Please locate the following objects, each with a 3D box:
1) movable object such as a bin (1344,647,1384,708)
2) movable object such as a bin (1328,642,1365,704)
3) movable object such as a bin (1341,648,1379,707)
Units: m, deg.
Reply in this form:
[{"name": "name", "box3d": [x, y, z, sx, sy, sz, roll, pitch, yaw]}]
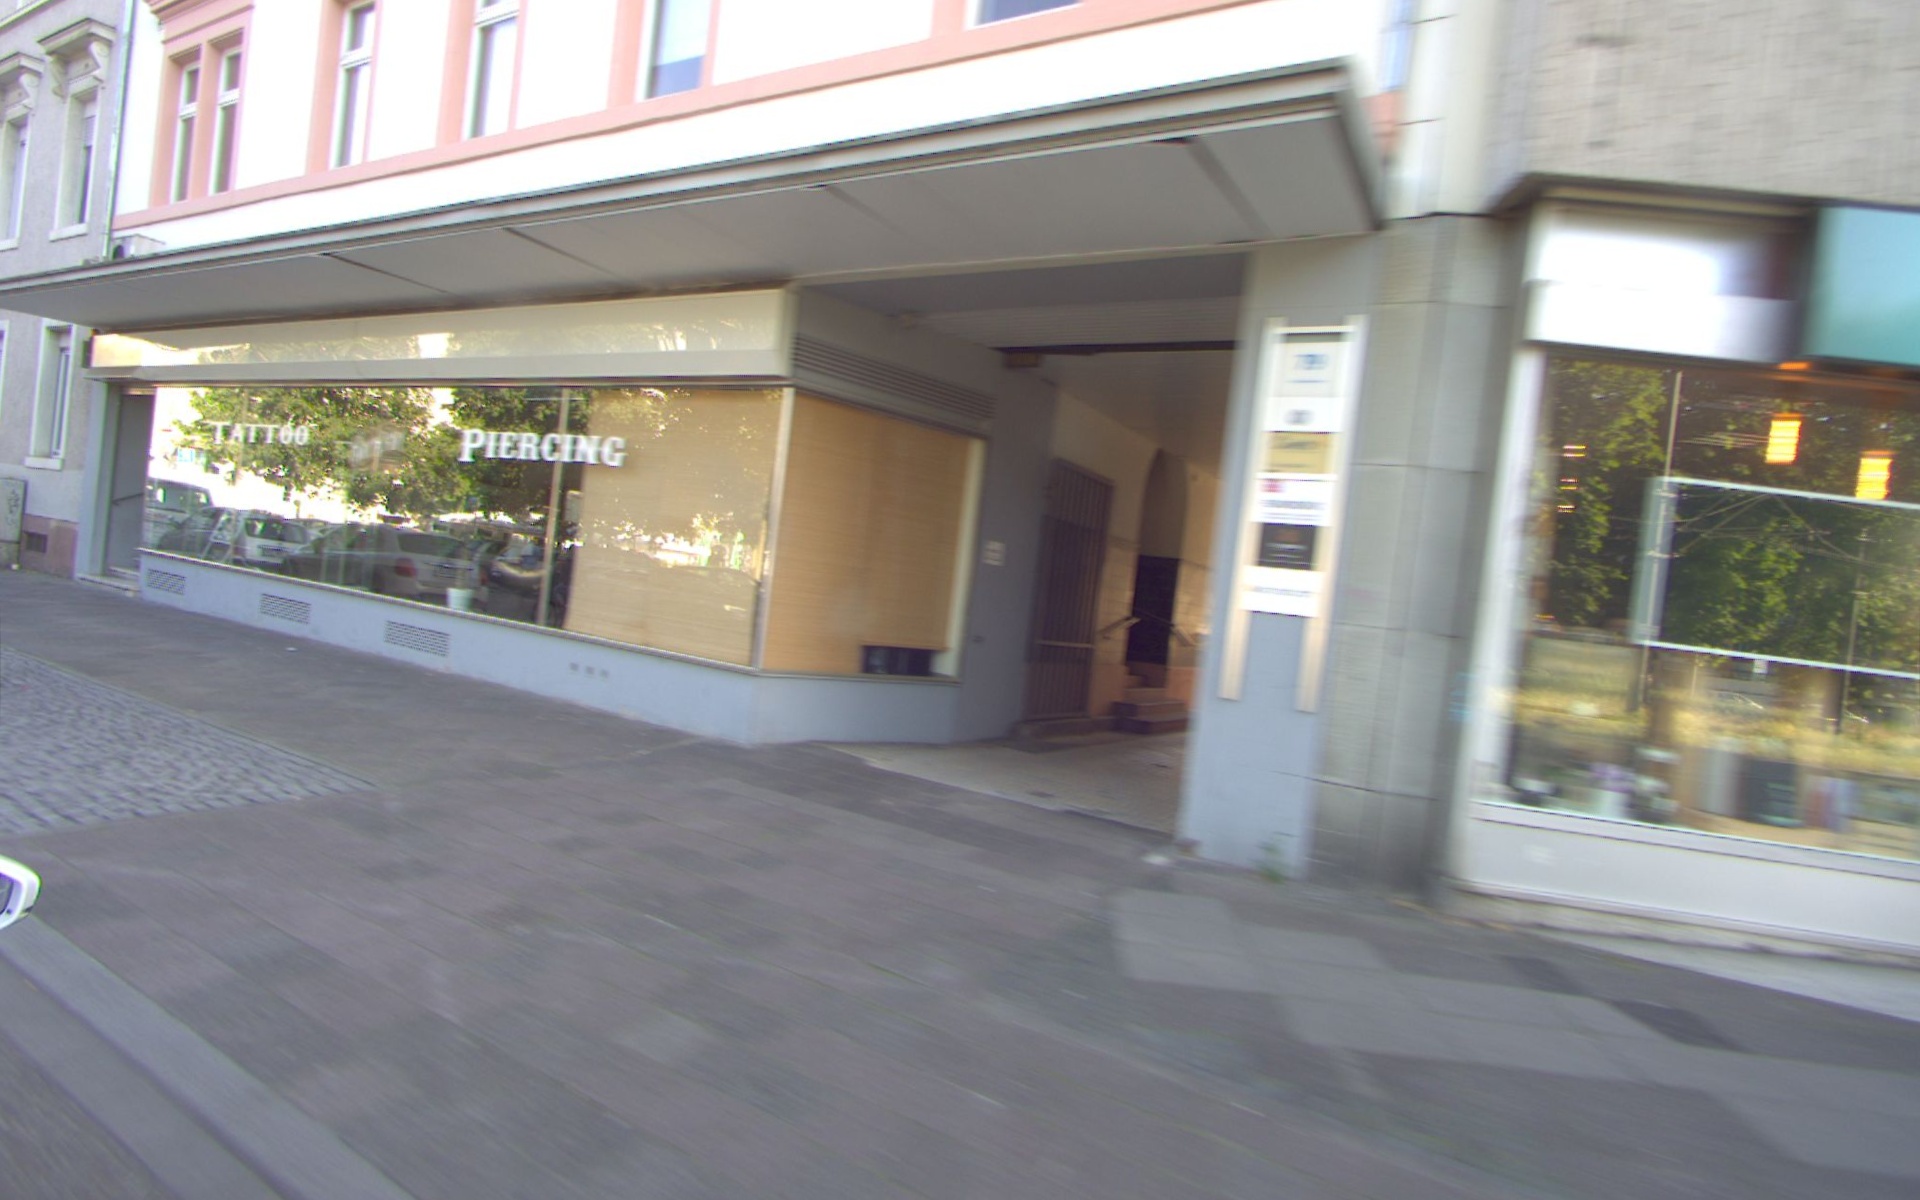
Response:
[{"name": "movable object such as a bin", "box3d": [9.539, 1.832, 23.771, 0.719, 1.345, 0.573, 6, -1, 21]}, {"name": "movable object such as a bin", "box3d": [9.624, 1.828, 25.067, 0.719, 1.444, 0.573, 6, -1, 21]}, {"name": "movable object such as a bin", "box3d": [9.699, 1.876, 24.412, 0.719, 1.345, 0.573, 6, -1, 21]}]
